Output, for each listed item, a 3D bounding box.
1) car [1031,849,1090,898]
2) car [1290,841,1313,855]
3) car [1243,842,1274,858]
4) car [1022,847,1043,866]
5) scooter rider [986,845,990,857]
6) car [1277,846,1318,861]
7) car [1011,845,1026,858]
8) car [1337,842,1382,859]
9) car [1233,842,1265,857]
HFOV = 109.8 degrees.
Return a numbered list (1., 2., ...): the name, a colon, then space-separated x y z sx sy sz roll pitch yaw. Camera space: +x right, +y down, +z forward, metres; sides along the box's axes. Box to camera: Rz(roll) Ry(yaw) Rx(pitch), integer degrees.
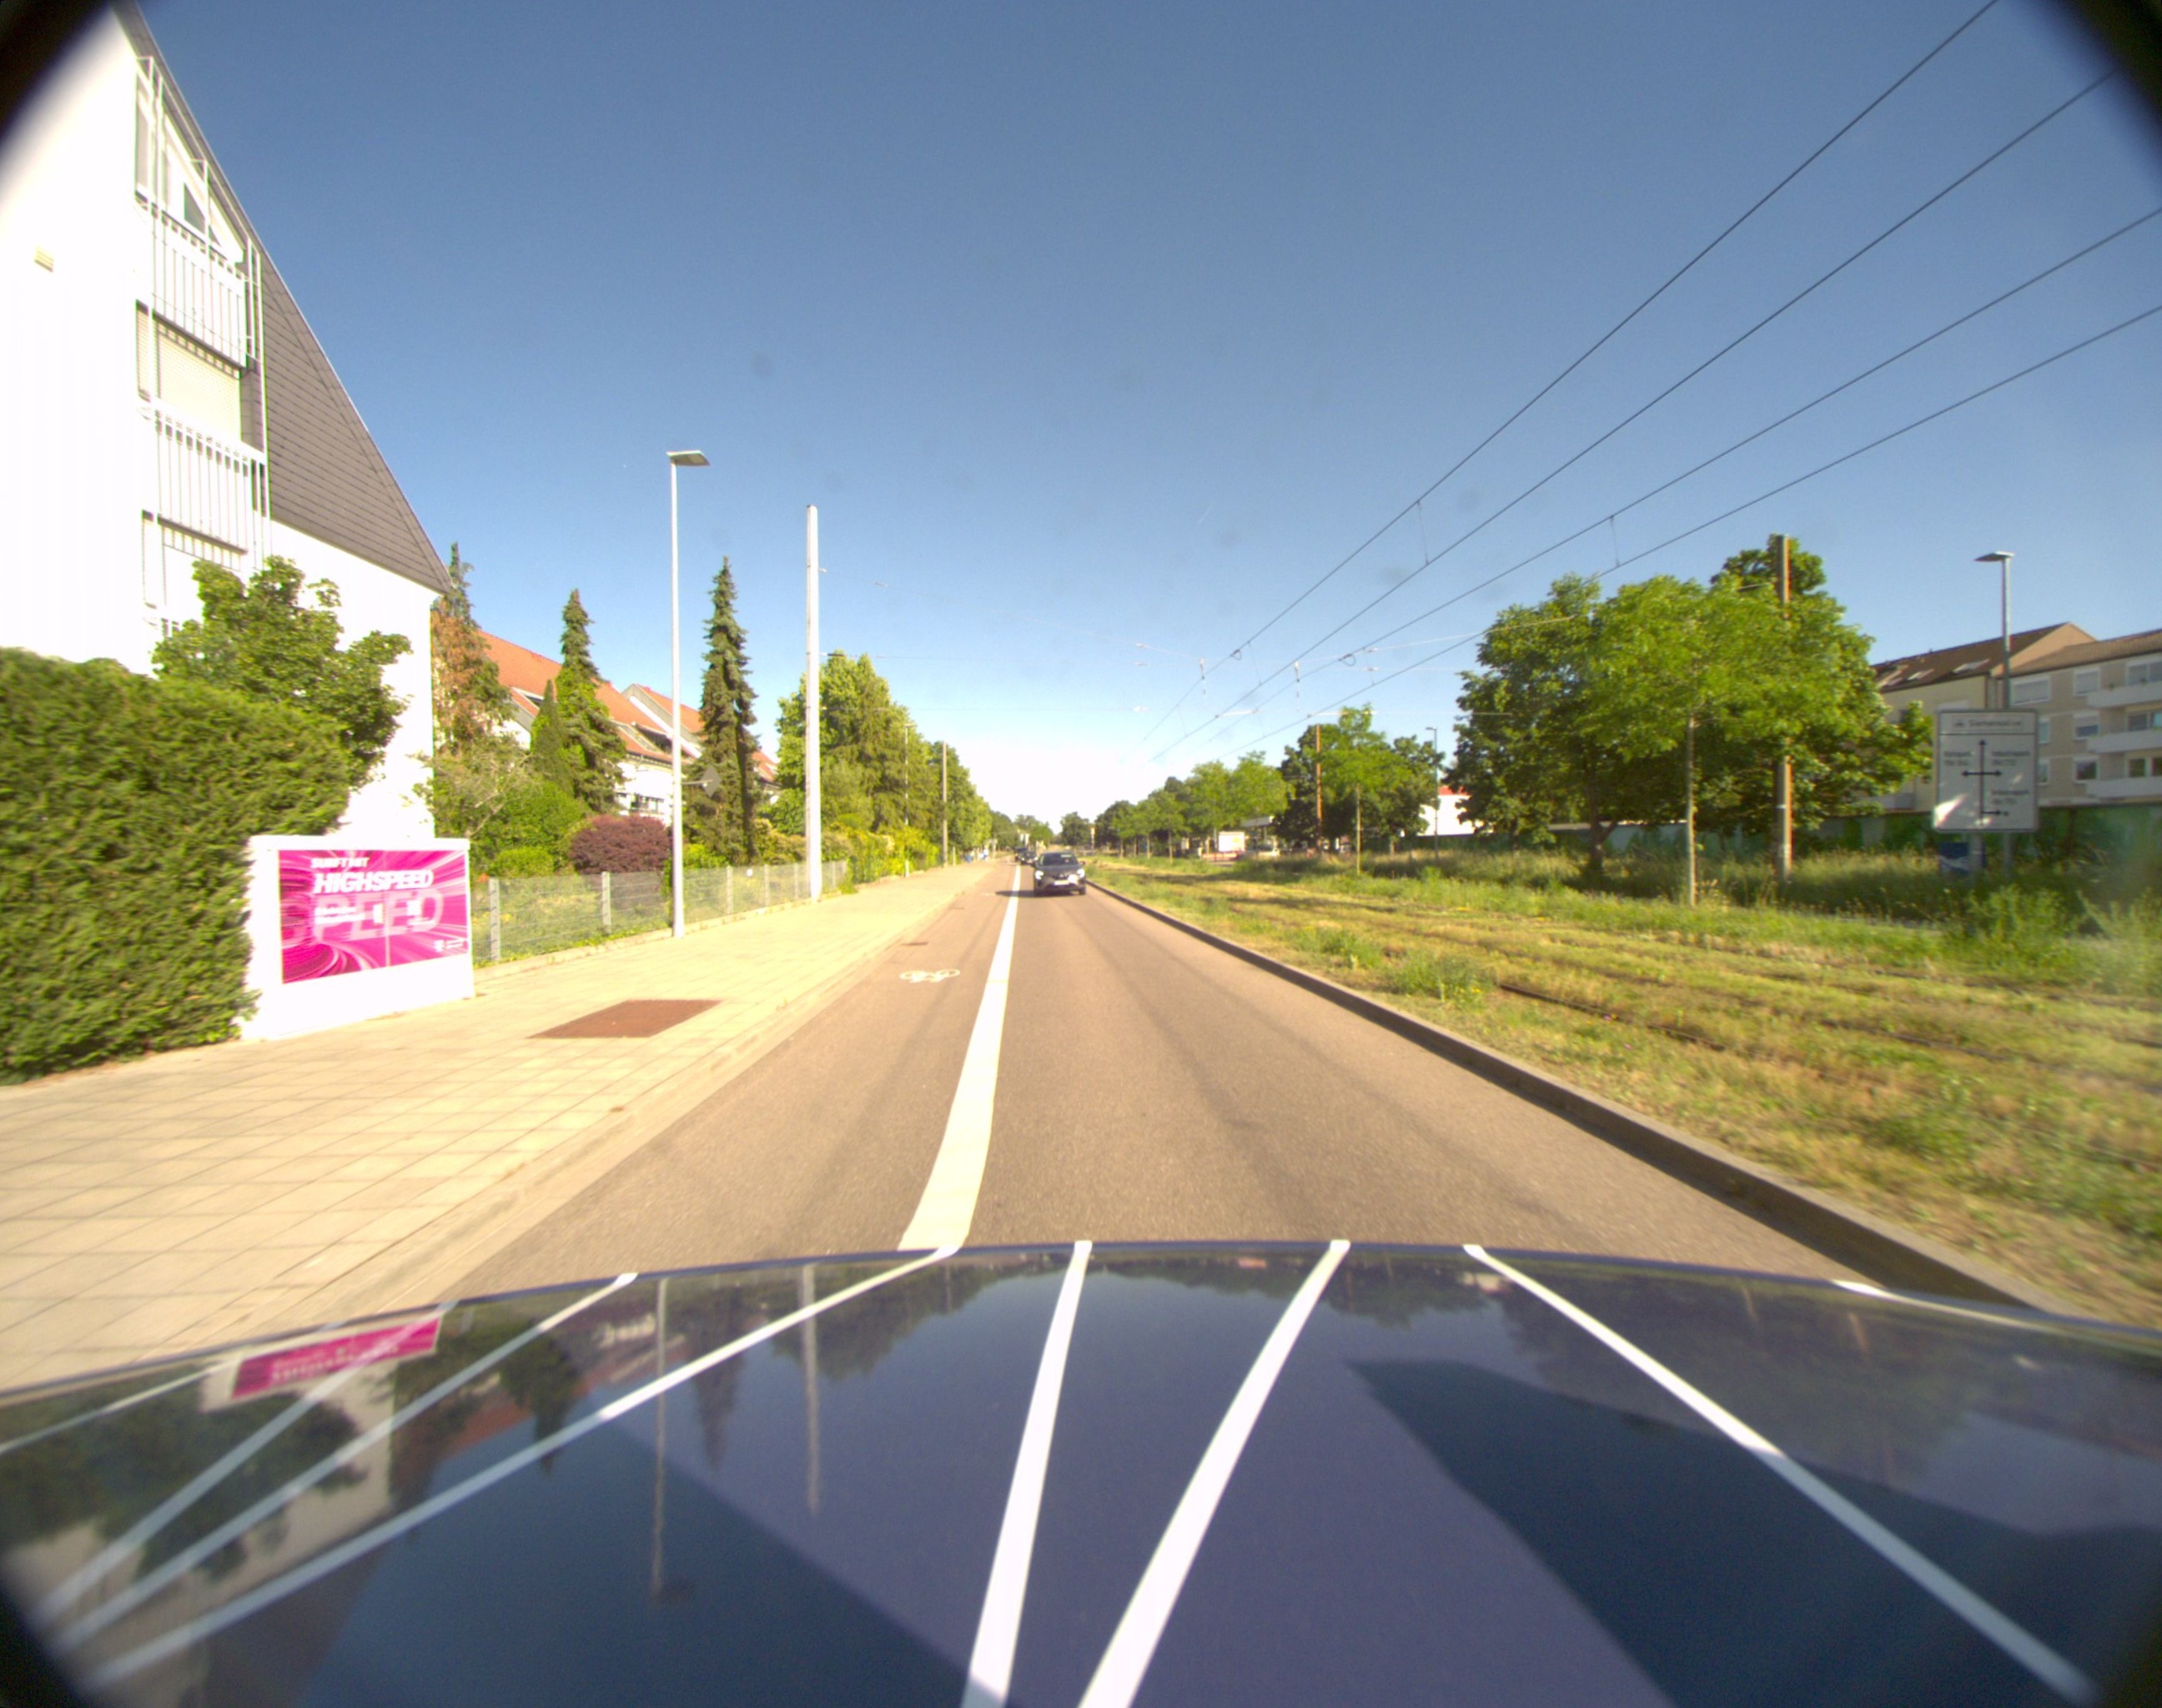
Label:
1. car: -0.829 0.659 27.922 1.868 1.614 3.997 -2 1 -6
2. car: 26.143 -0.777 90.141 2.022 1.500 4.896 0 2 23
3. car: 22.017 -0.459 94.121 1.893 1.899 4.820 -1 0 36
4. car: -5.022 0.245 78.618 1.999 1.824 3.998 -3 1 -4
5. scooter rider: -13.437 -0.424 110.132 0.552 1.757 0.598 -2 1 -6
6. car: 22.111 -0.102 77.772 3.712 1.503 1.640 -1 1 -8
7. car: -9.129 -0.384 111.685 1.999 1.824 3.998 -3 1 -4
8. car: 27.676 -0.369 75.480 3.829 1.501 1.704 -2 1 -4
9. car: 23.659 -0.612 107.312 3.998 1.846 1.999 -3 1 -2
